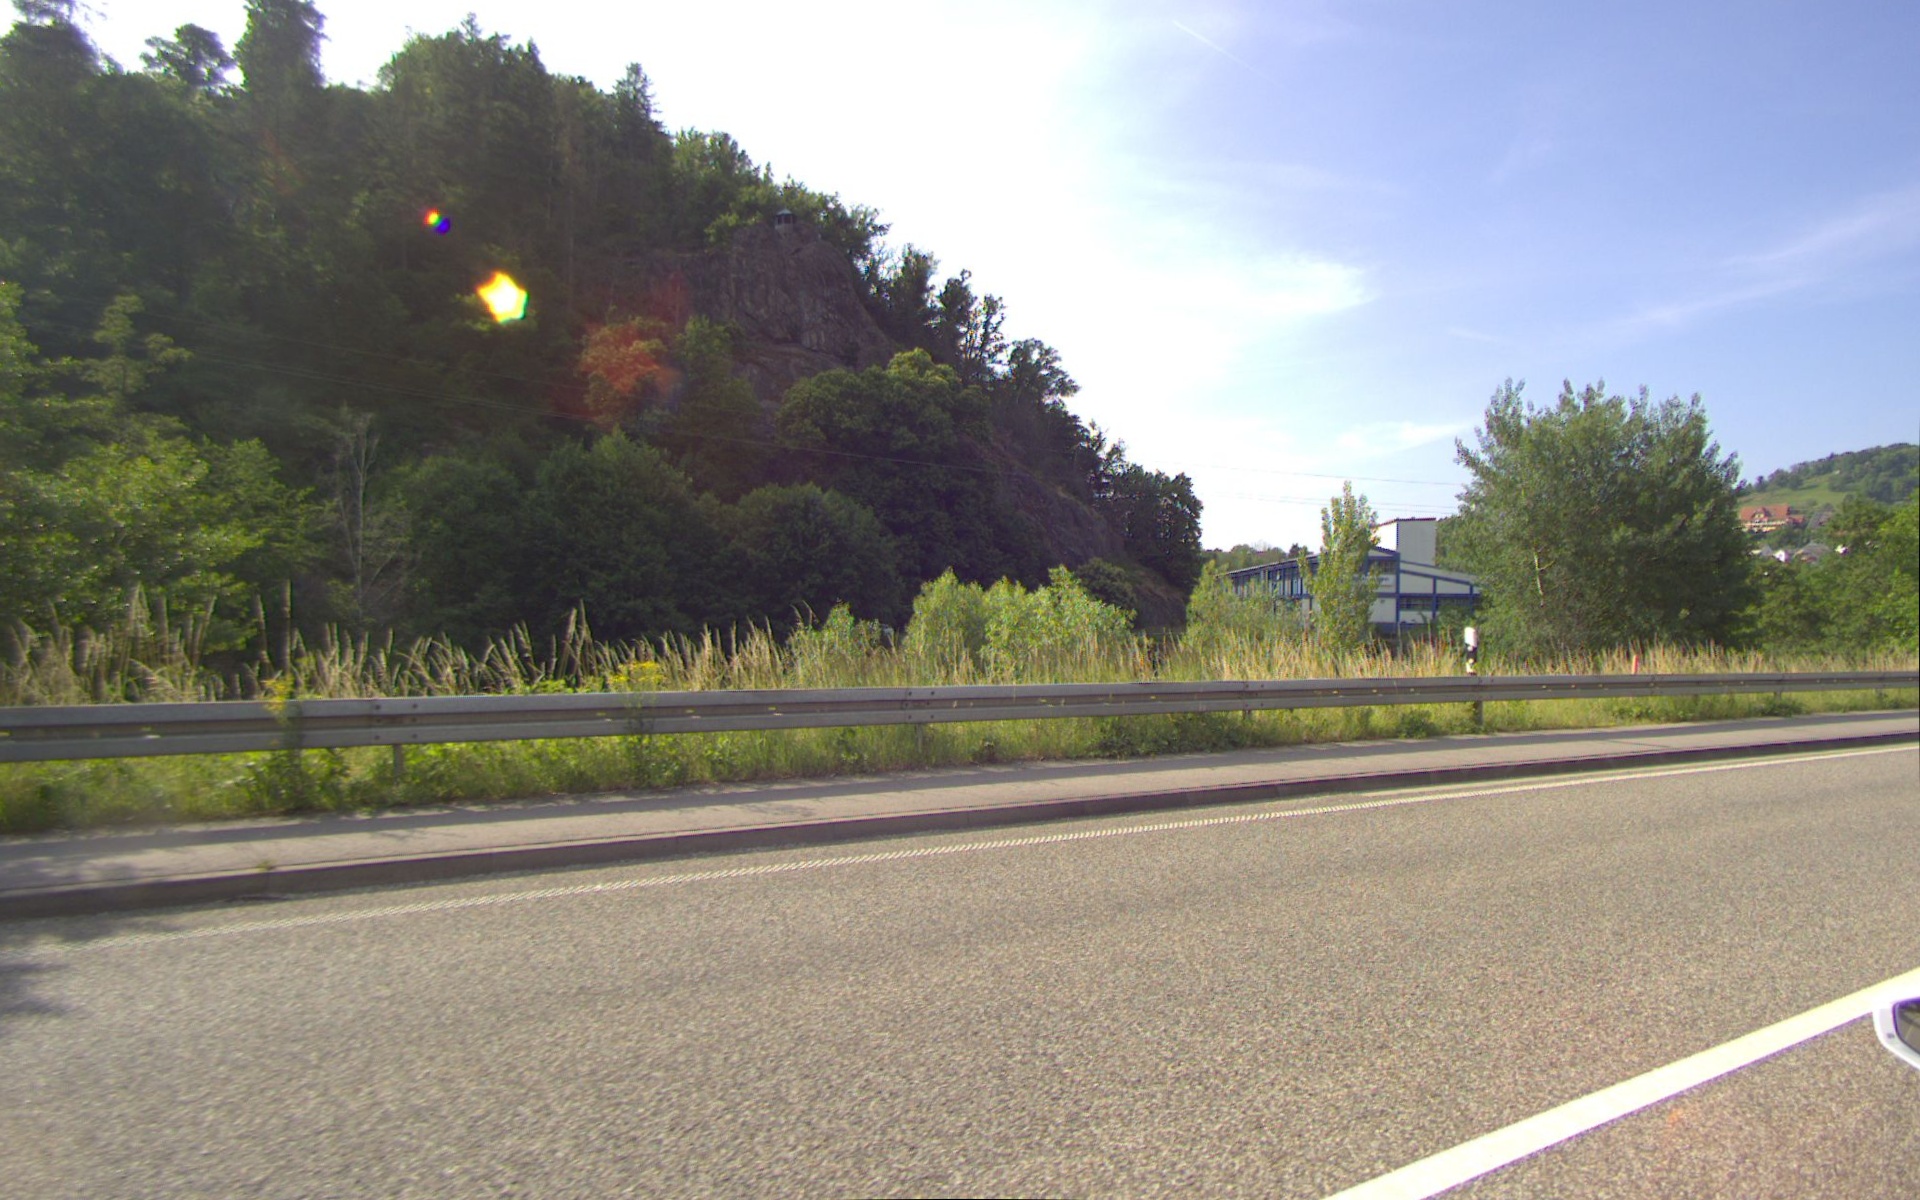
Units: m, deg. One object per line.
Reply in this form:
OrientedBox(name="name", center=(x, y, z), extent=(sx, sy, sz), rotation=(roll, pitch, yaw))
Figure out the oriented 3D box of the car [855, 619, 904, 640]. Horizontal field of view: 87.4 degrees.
OrientedBox(name="car", center=(-7.214, 2.658, 89.992), extent=(3.961, 1.756, 1.857), rotation=(2, 1, -35))
